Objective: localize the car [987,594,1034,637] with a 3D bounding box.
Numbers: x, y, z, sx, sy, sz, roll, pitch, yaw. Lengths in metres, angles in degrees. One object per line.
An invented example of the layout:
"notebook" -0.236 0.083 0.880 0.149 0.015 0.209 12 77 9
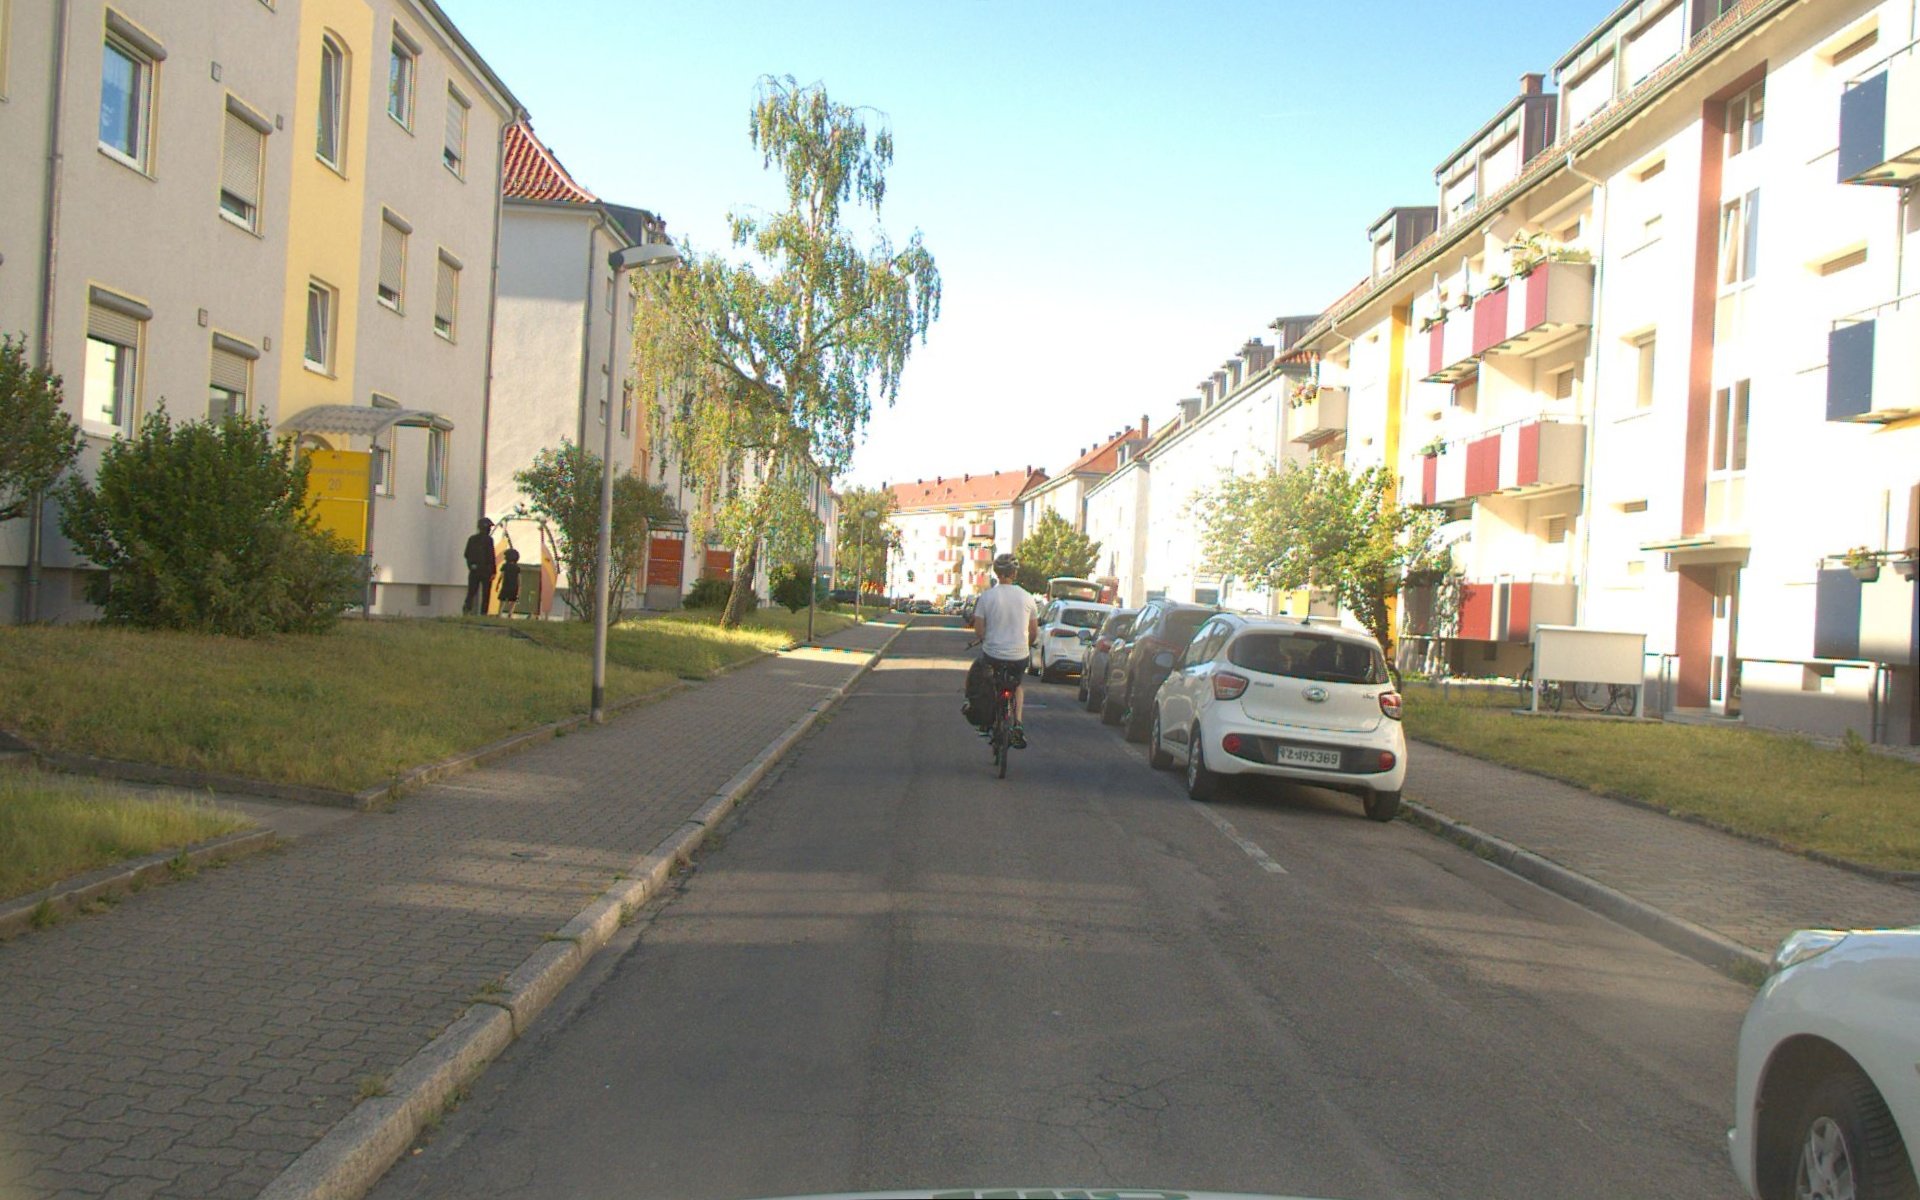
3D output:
"car" 1.908 0.557 63.559 1.608 1.524 4.156 3 0 0

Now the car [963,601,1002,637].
"car" 1.191 0.968 87.661 1.824 1.697 4.126 5 0 -1

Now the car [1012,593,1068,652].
"car" 2.352 0.637 48.293 1.449 1.555 2.942 5 0 3

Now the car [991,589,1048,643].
"car" 2.056 0.537 58.464 1.747 1.676 4.468 4 0 0

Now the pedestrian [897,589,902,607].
"pedestrian" -5.552 -0.178 151.186 0.425 1.602 0.543 2 0 -1

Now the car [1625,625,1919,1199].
"car" 2.724 0.868 2.414 1.657 1.442 4.096 5 0 -2

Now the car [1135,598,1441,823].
"car" 2.687 0.837 14.444 1.679 1.535 3.852 6 0 -2

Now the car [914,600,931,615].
"car" -3.525 0.669 154.791 1.440 1.358 3.139 2 0 -3

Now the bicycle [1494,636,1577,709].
"bicycle" 9.232 1.138 26.598 0.510 1.067 2.288 1 0 0

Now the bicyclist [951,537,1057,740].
"bicyclist" 0.365 0.322 14.315 0.792 1.672 0.898 2 0 -3

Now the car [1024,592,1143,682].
"car" 2.355 0.676 32.574 1.737 1.531 4.478 4 0 -3

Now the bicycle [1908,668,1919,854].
"bicycle" 6.464 1.045 9.867 0.533 1.191 1.873 1 0 0

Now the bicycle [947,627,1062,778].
"bicycle" 0.350 0.844 14.337 0.792 1.148 2.100 2 0 -3

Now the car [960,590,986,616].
"car" 0.961 0.224 122.548 1.641 1.769 3.940 4 0 -3

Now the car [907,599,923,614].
"car" -4.336 0.598 159.475 1.440 1.358 3.139 2 0 -3

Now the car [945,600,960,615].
"car" -0.797 0.793 171.674 1.354 1.523 3.075 2 0 -3

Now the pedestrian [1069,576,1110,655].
"pedestrian" 2.852 0.339 36.506 0.803 1.717 0.604 2 0 -1

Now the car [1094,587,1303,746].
"car" 2.684 0.693 19.558 1.688 1.606 4.351 2 0 -2

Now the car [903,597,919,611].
"car" -4.884 0.406 166.150 1.440 1.359 3.138 -1 0 -5

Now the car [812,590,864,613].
"car" -10.030 0.107 136.264 4.149 1.667 1.581 3 0 -5

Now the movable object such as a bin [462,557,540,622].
"movable object such as a bin" -10.557 -0.231 38.076 1.360 1.359 1.228 5 0 -1

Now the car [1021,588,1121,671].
"car" 2.495 0.628 38.359 1.953 1.640 4.996 5 0 1

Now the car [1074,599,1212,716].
"car" 2.660 0.797 24.799 1.613 1.474 4.061 5 0 2

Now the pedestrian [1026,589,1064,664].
"pedestrian" 1.861 0.567 36.412 0.724 1.602 0.879 2 0 -1

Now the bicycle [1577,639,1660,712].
"bicycle" 10.521 1.186 26.496 0.510 1.055 1.975 2 0 -1

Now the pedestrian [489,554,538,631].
"pedestrian" -8.045 -0.134 29.816 0.672 1.340 0.575 2 0 0

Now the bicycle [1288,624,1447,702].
"bicycle" 6.623 1.016 26.980 2.373 1.149 0.880 2 0 5

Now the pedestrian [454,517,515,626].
"pedestrian" -8.364 -0.500 29.104 0.789 1.855 0.718 2 0 0

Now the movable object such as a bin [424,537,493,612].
"movable object such as a bin" -10.100 -0.507 33.360 1.062 1.430 0.812 4 0 -1
